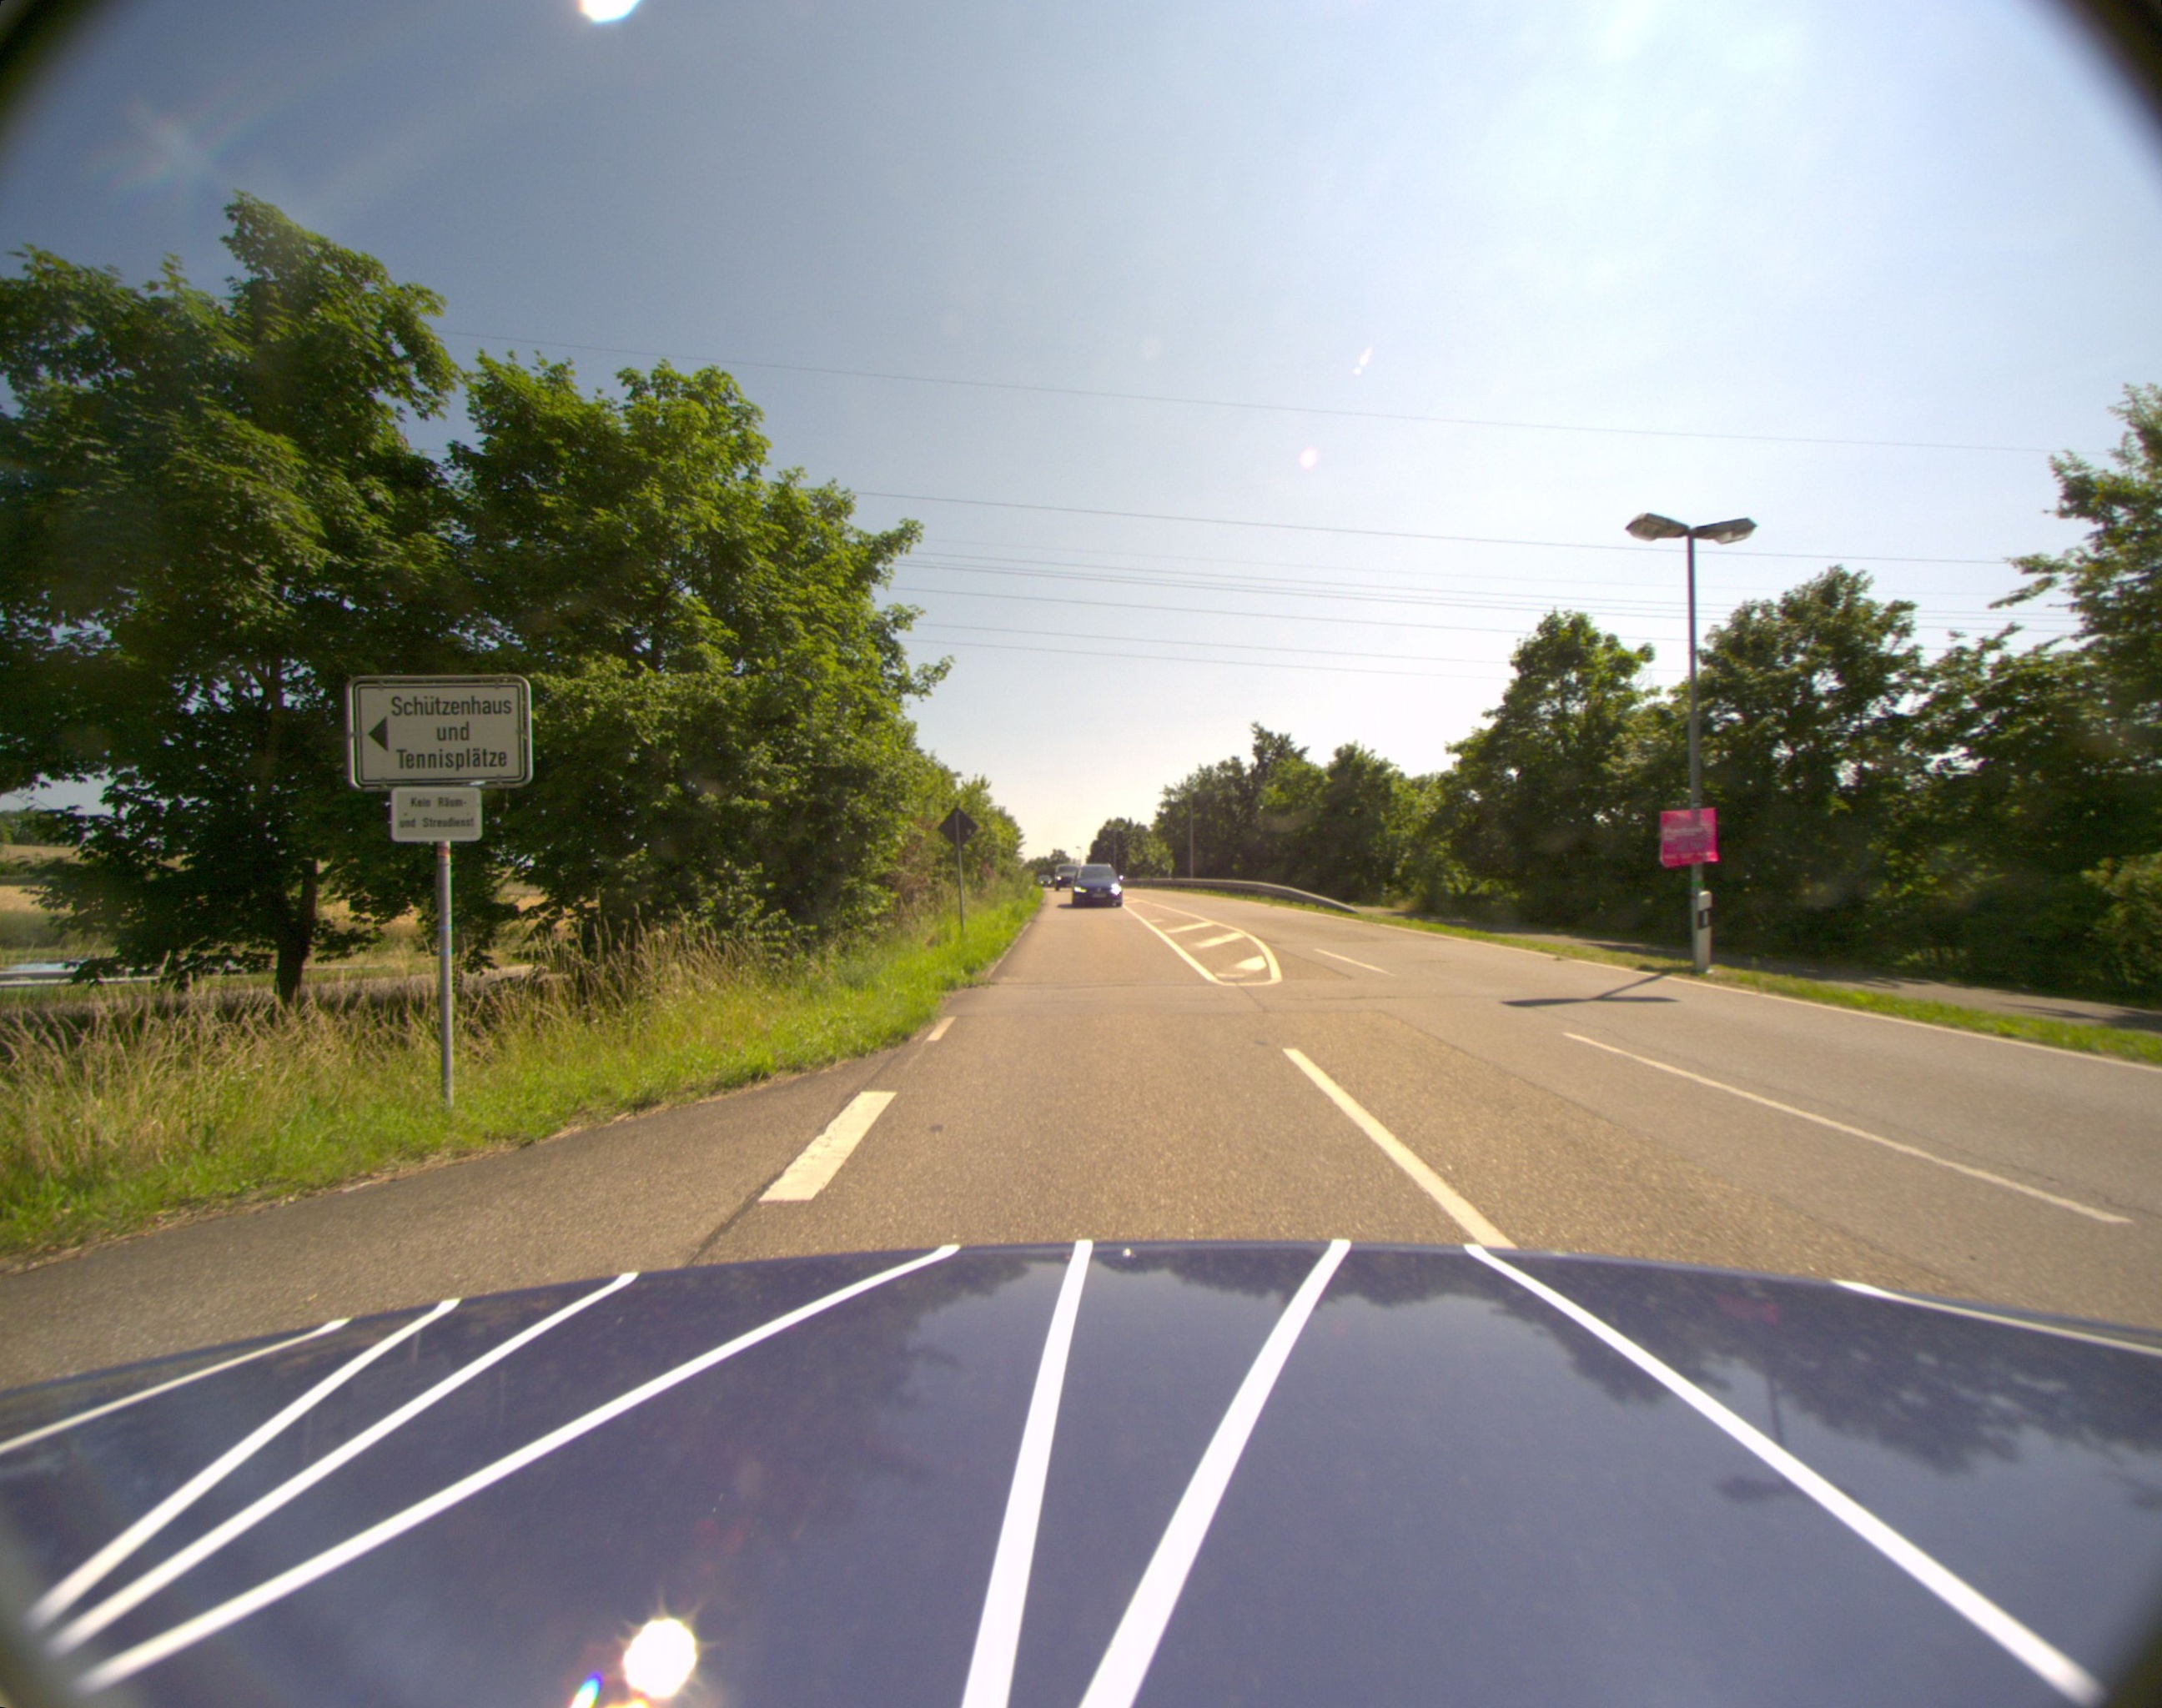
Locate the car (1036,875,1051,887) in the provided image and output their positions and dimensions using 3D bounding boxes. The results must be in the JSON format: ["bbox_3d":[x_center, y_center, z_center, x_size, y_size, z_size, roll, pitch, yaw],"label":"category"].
[{"bbox_3d":[-5.080,3.611,101.957,1.765,1.530,3.682,-2,0,-7],"label":"car"}]

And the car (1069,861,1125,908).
[{"bbox_3d":[0.496,1.092,27.982,1.765,1.519,4.423,-2,-2,-2],"label":"car"}]

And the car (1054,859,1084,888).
[{"bbox_3d":[-0.895,1.468,56.209,1.765,1.953,4.261,-2,-2,-6],"label":"car"}]
